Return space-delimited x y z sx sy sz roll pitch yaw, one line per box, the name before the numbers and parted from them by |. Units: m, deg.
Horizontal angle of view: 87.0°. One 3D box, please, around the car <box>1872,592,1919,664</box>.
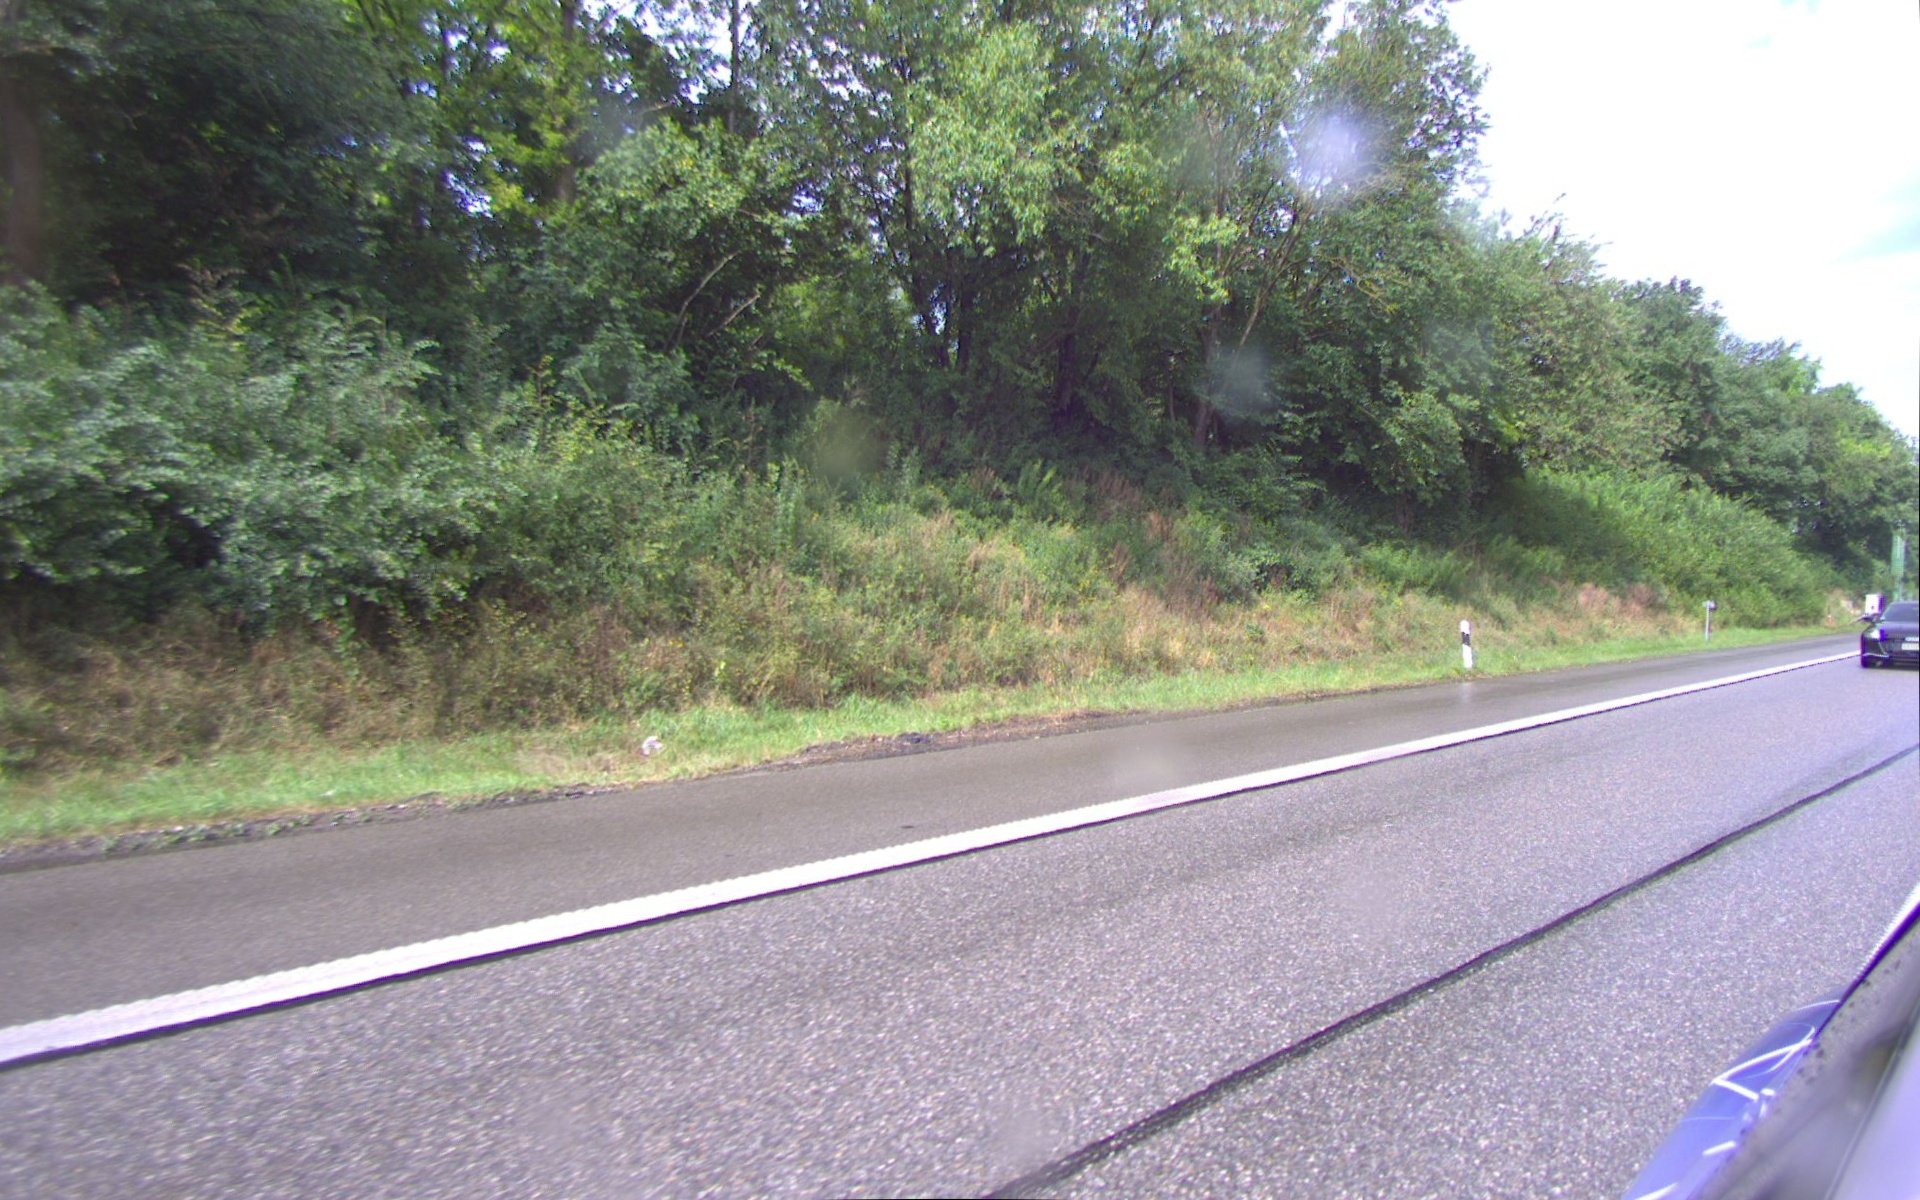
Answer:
car | 20.842 0.550 21.463 4.293 1.414 1.758 0 1 -42
